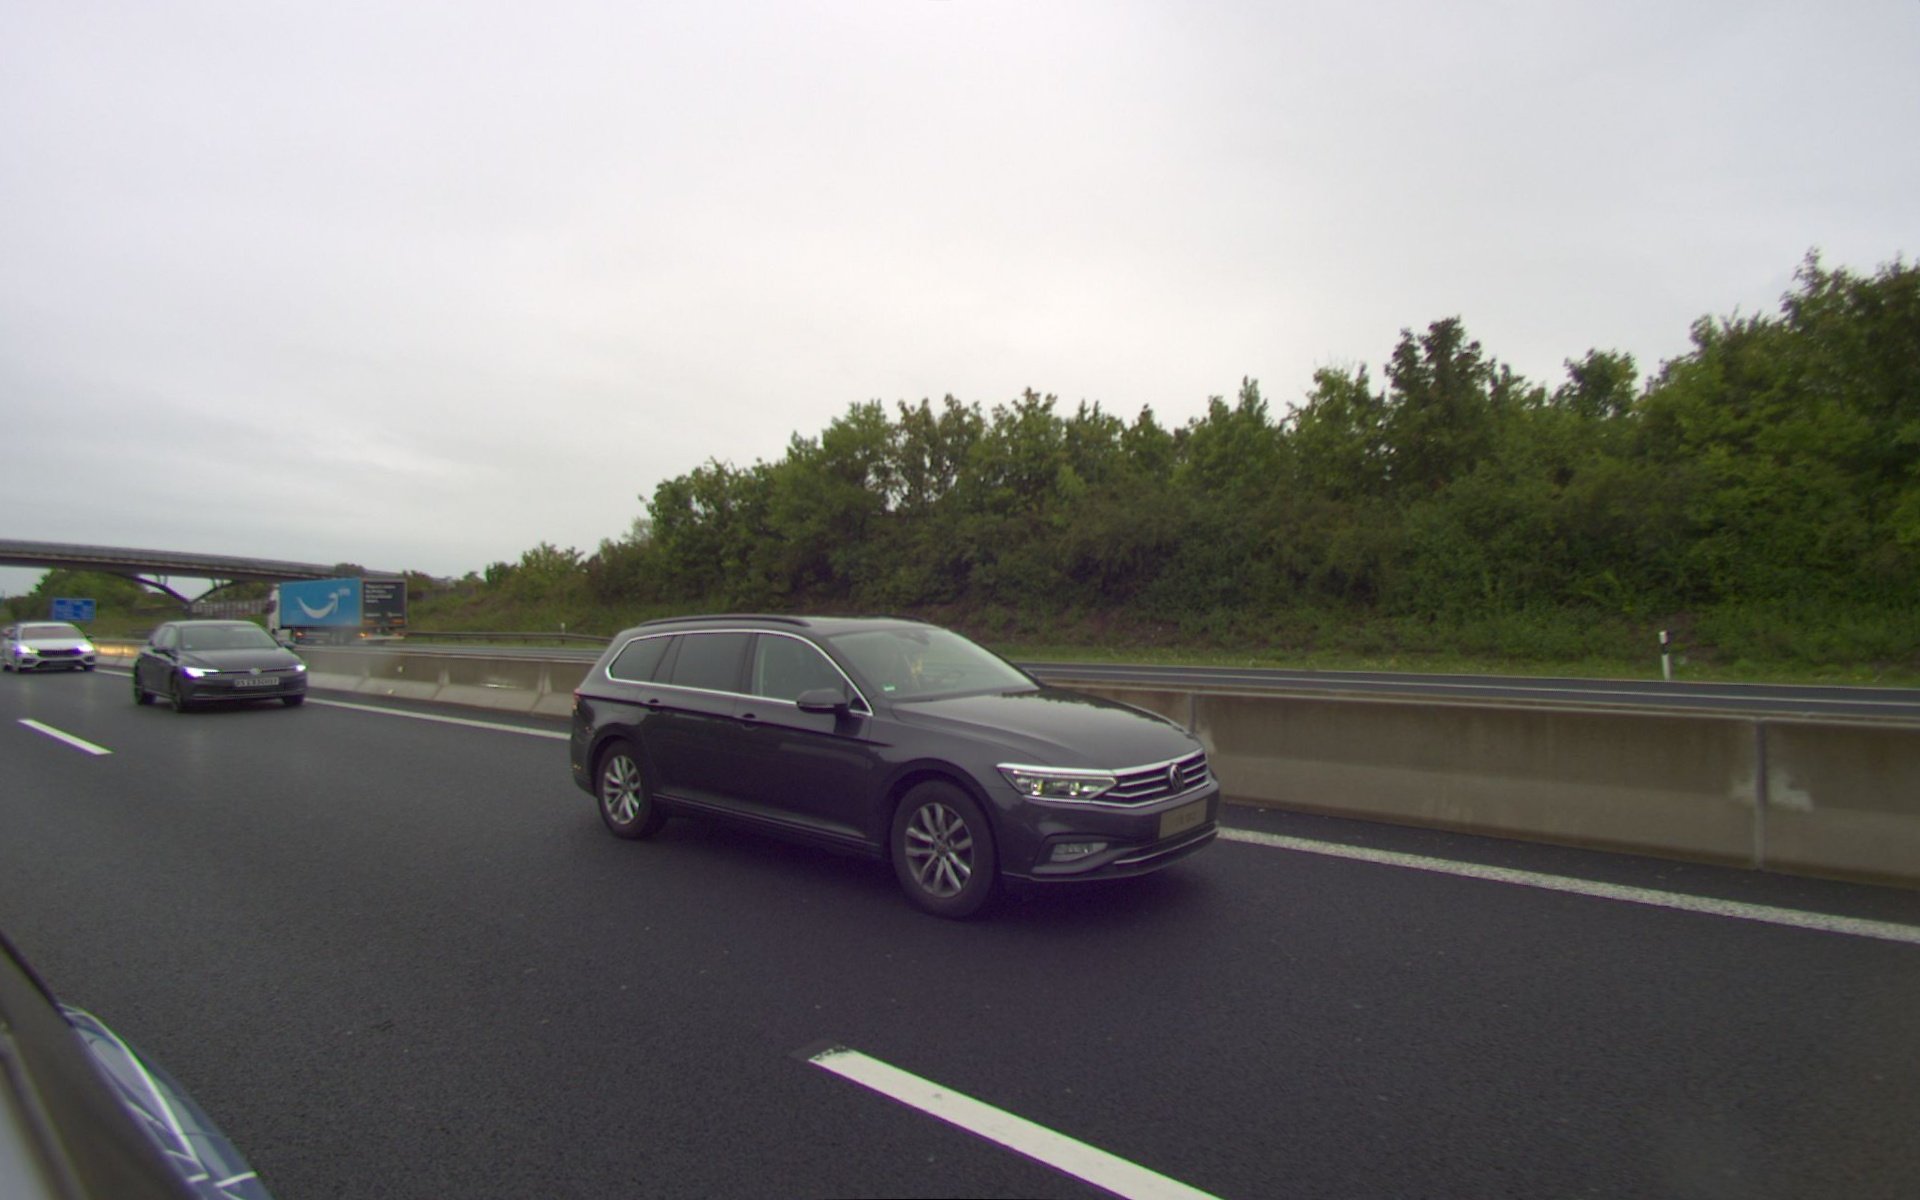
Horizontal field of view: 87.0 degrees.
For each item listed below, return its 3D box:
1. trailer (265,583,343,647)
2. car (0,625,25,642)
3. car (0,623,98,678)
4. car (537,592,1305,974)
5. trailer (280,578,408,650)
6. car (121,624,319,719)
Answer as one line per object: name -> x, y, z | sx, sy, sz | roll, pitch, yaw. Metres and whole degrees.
trailer -> -44.192, 1.055, 68.131 | 6.038, 4.114, 2.761 | -1, -2, 40
car -> -93.318, 3.269, 99.336 | 4.502, 1.583, 1.954 | -2, -2, 44
car -> -27.348, 1.459, 30.234 | 4.112, 1.518, 1.880 | -1, -1, 42
car -> -0.584, 0.774, 6.330 | 4.849, 1.508, 1.881 | -1, -1, 41
trailer -> -38.930, 0.927, 63.639 | 13.516, 4.114, 2.761 | -1, -2, 40
car -> -12.810, 1.129, 17.407 | 4.458, 1.416, 1.880 | -1, -1, 42
